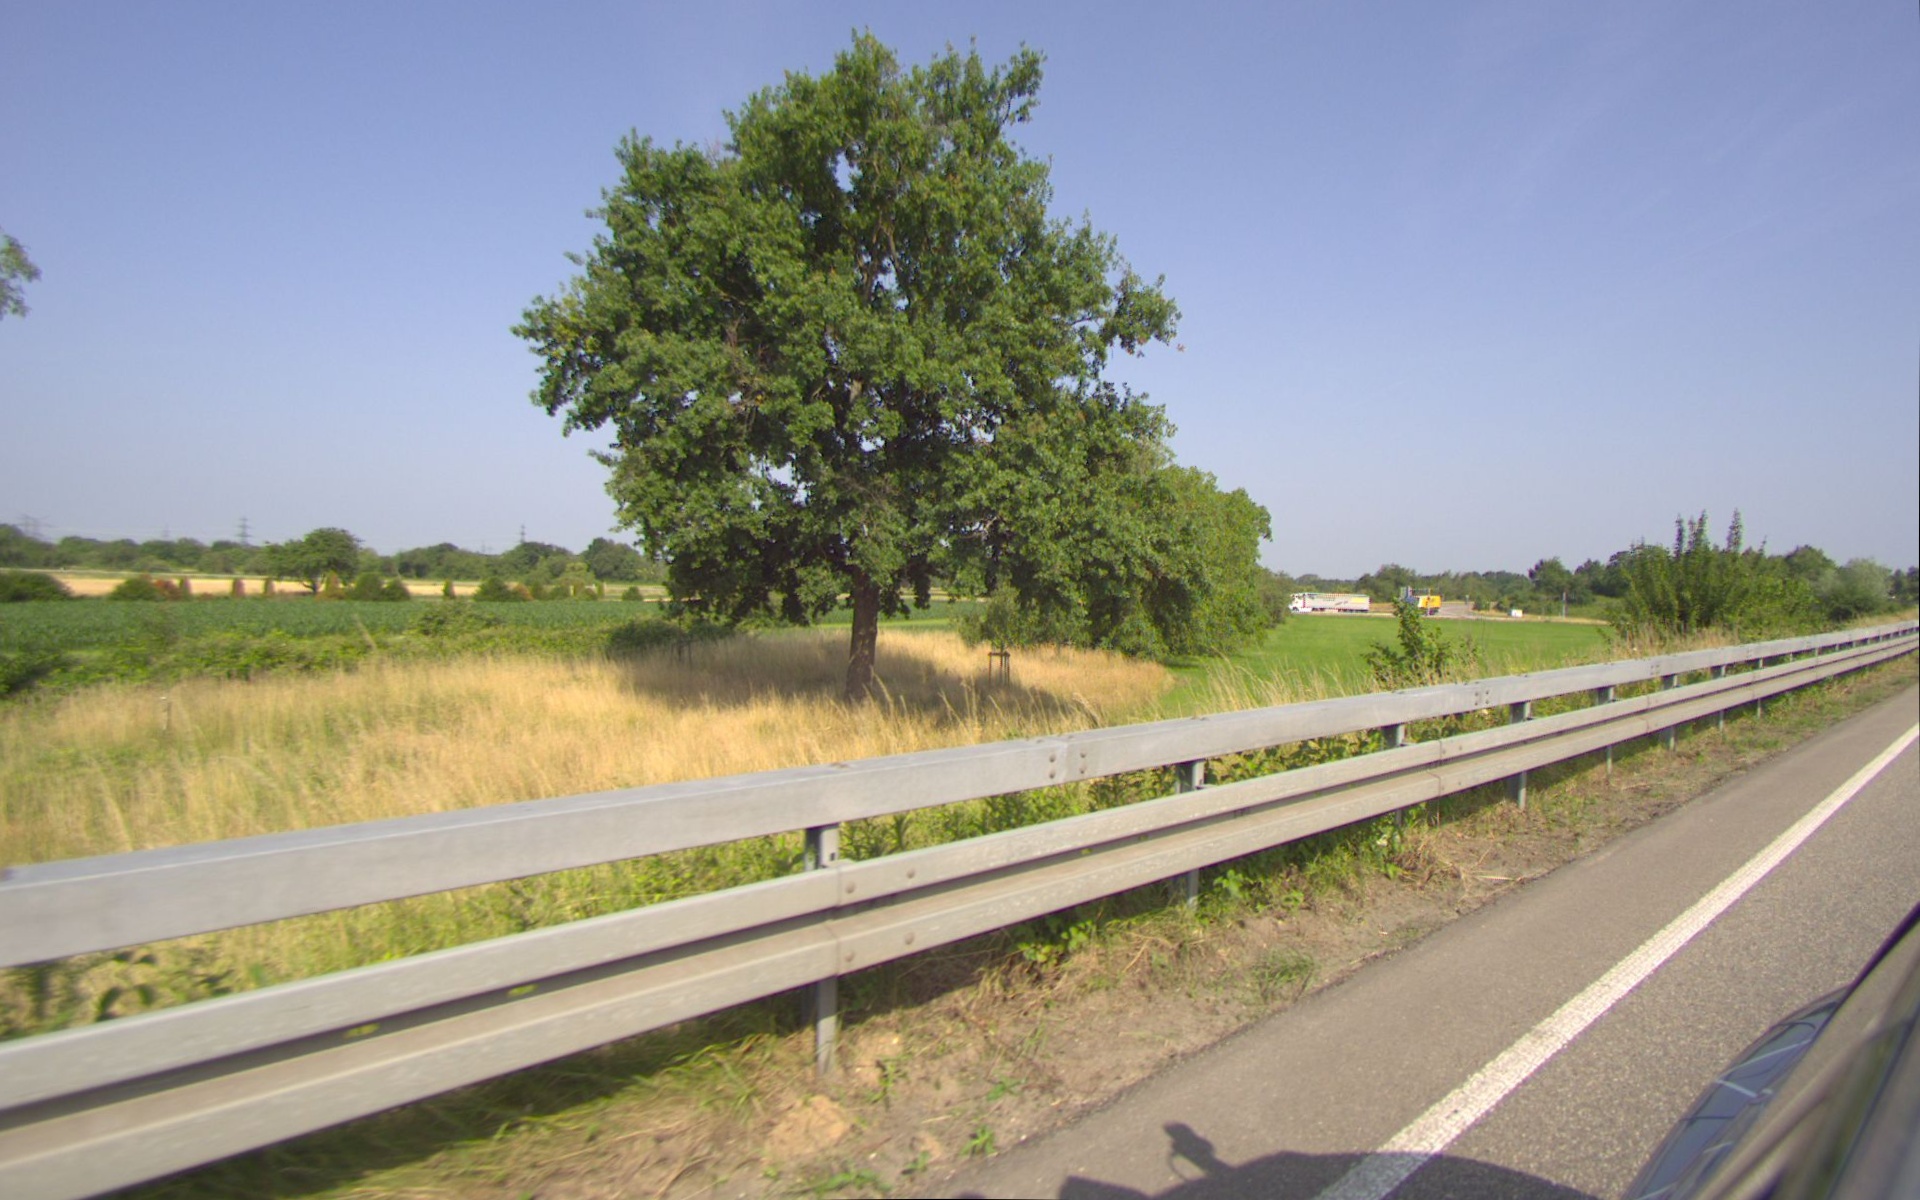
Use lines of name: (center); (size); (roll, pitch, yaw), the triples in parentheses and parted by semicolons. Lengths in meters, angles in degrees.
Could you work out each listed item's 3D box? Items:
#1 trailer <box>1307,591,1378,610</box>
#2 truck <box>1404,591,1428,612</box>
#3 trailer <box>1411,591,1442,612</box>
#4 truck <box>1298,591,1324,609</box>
trailer: (81.078, 0.077, 214.836); (13.717, 3.699, 2.100); (1, 0, 13)
truck: (96.763, 0.303, 214.788); (4.280, 4.222, 2.267); (1, 1, -23)
trailer: (101.113, 0.321, 219.092); (2.252, 4.222, 14.214); (2, 1, 40)
truck: (74.981, -0.033, 216.227); (4.869, 3.724, 2.100); (1, 0, 13)
